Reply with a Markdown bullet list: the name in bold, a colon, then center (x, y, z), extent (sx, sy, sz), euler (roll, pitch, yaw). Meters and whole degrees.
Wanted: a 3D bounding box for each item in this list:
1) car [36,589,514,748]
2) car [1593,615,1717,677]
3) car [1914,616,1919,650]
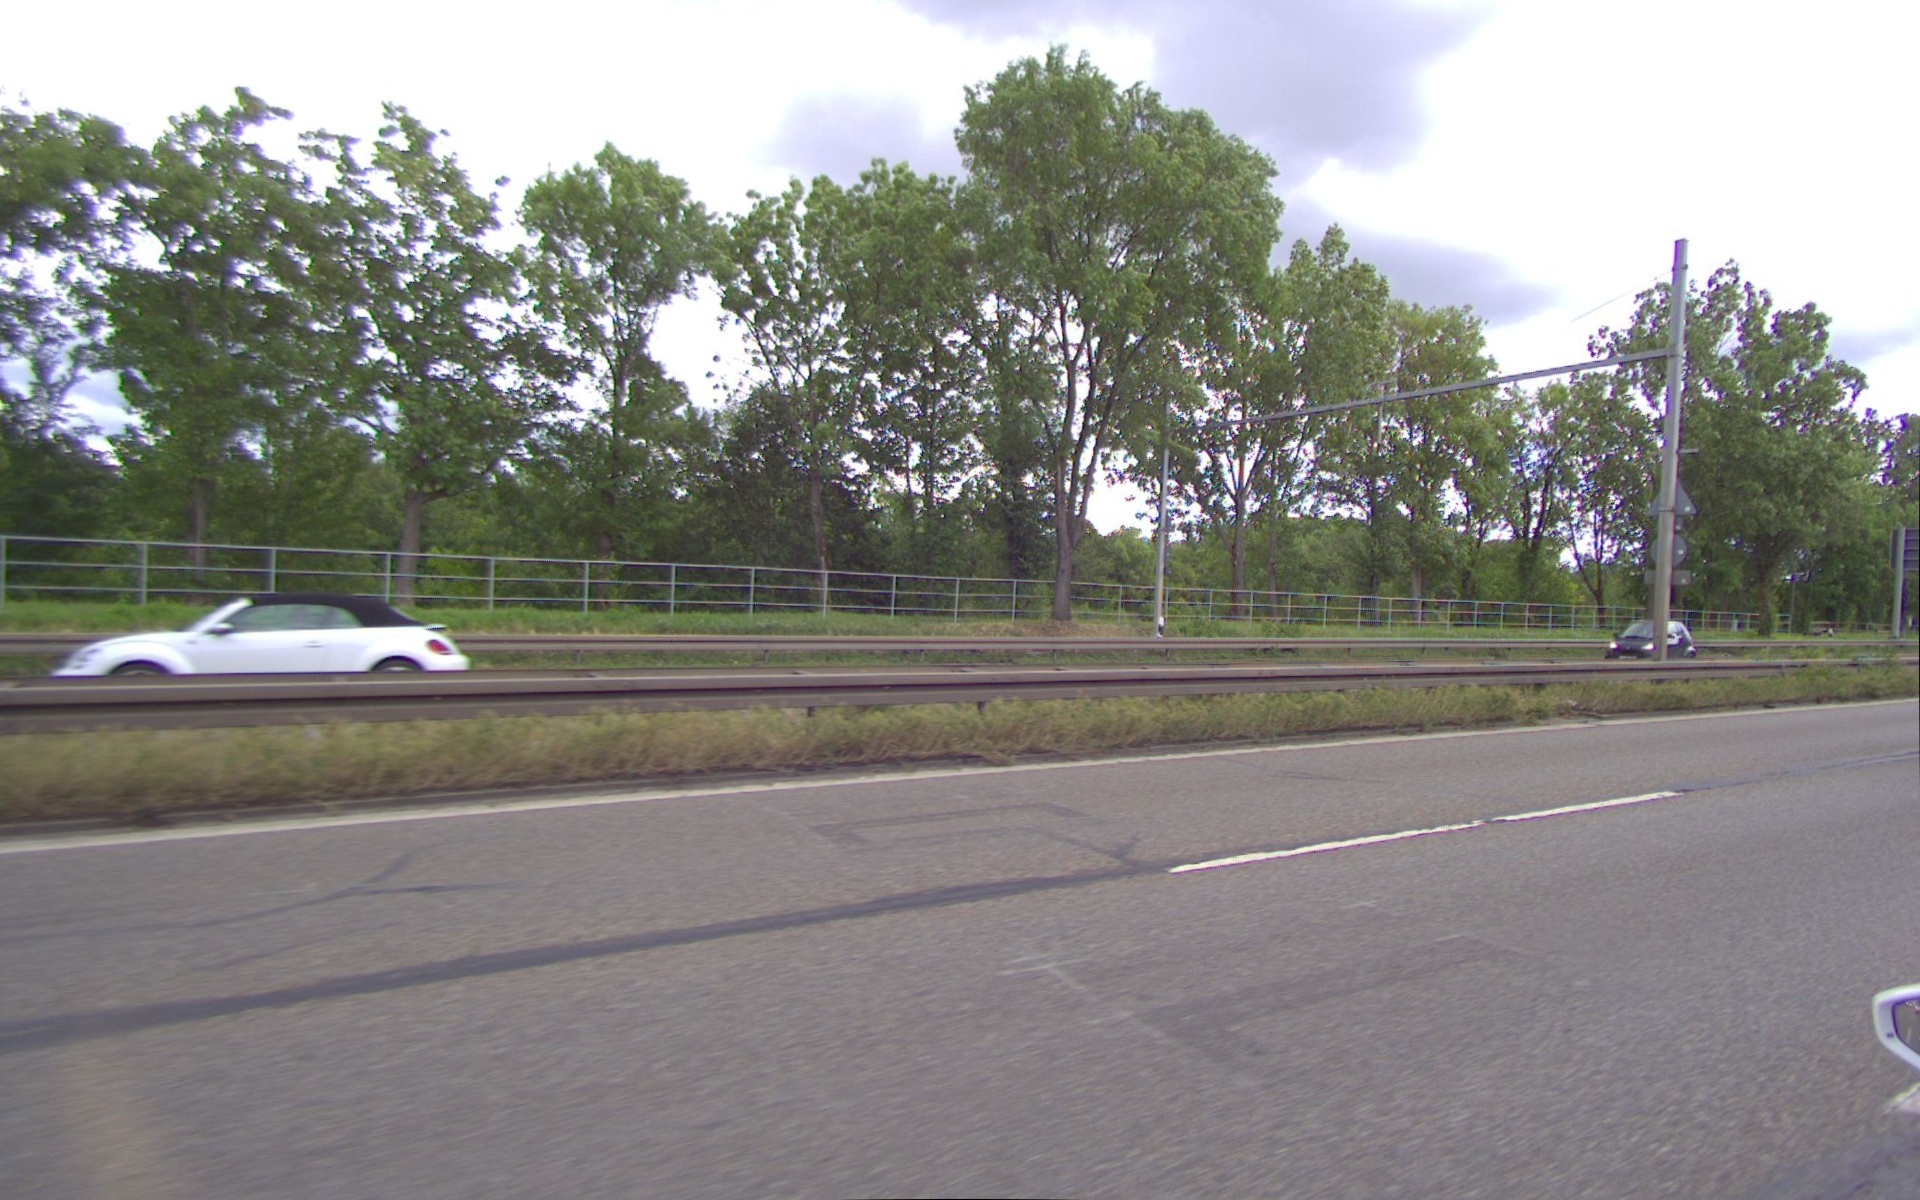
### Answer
- **car**: center (-8.306, 0.772, 12.719), extent (4.664, 1.697, 1.857), euler (1, 0, -31)
- **car**: center (21.593, 1.410, 31.189), extent (3.697, 1.798, 1.718), euler (2, 0, -30)
- **car**: center (55.463, 1.888, 56.475), extent (4.511, 1.909, 1.602), euler (2, 0, -32)
